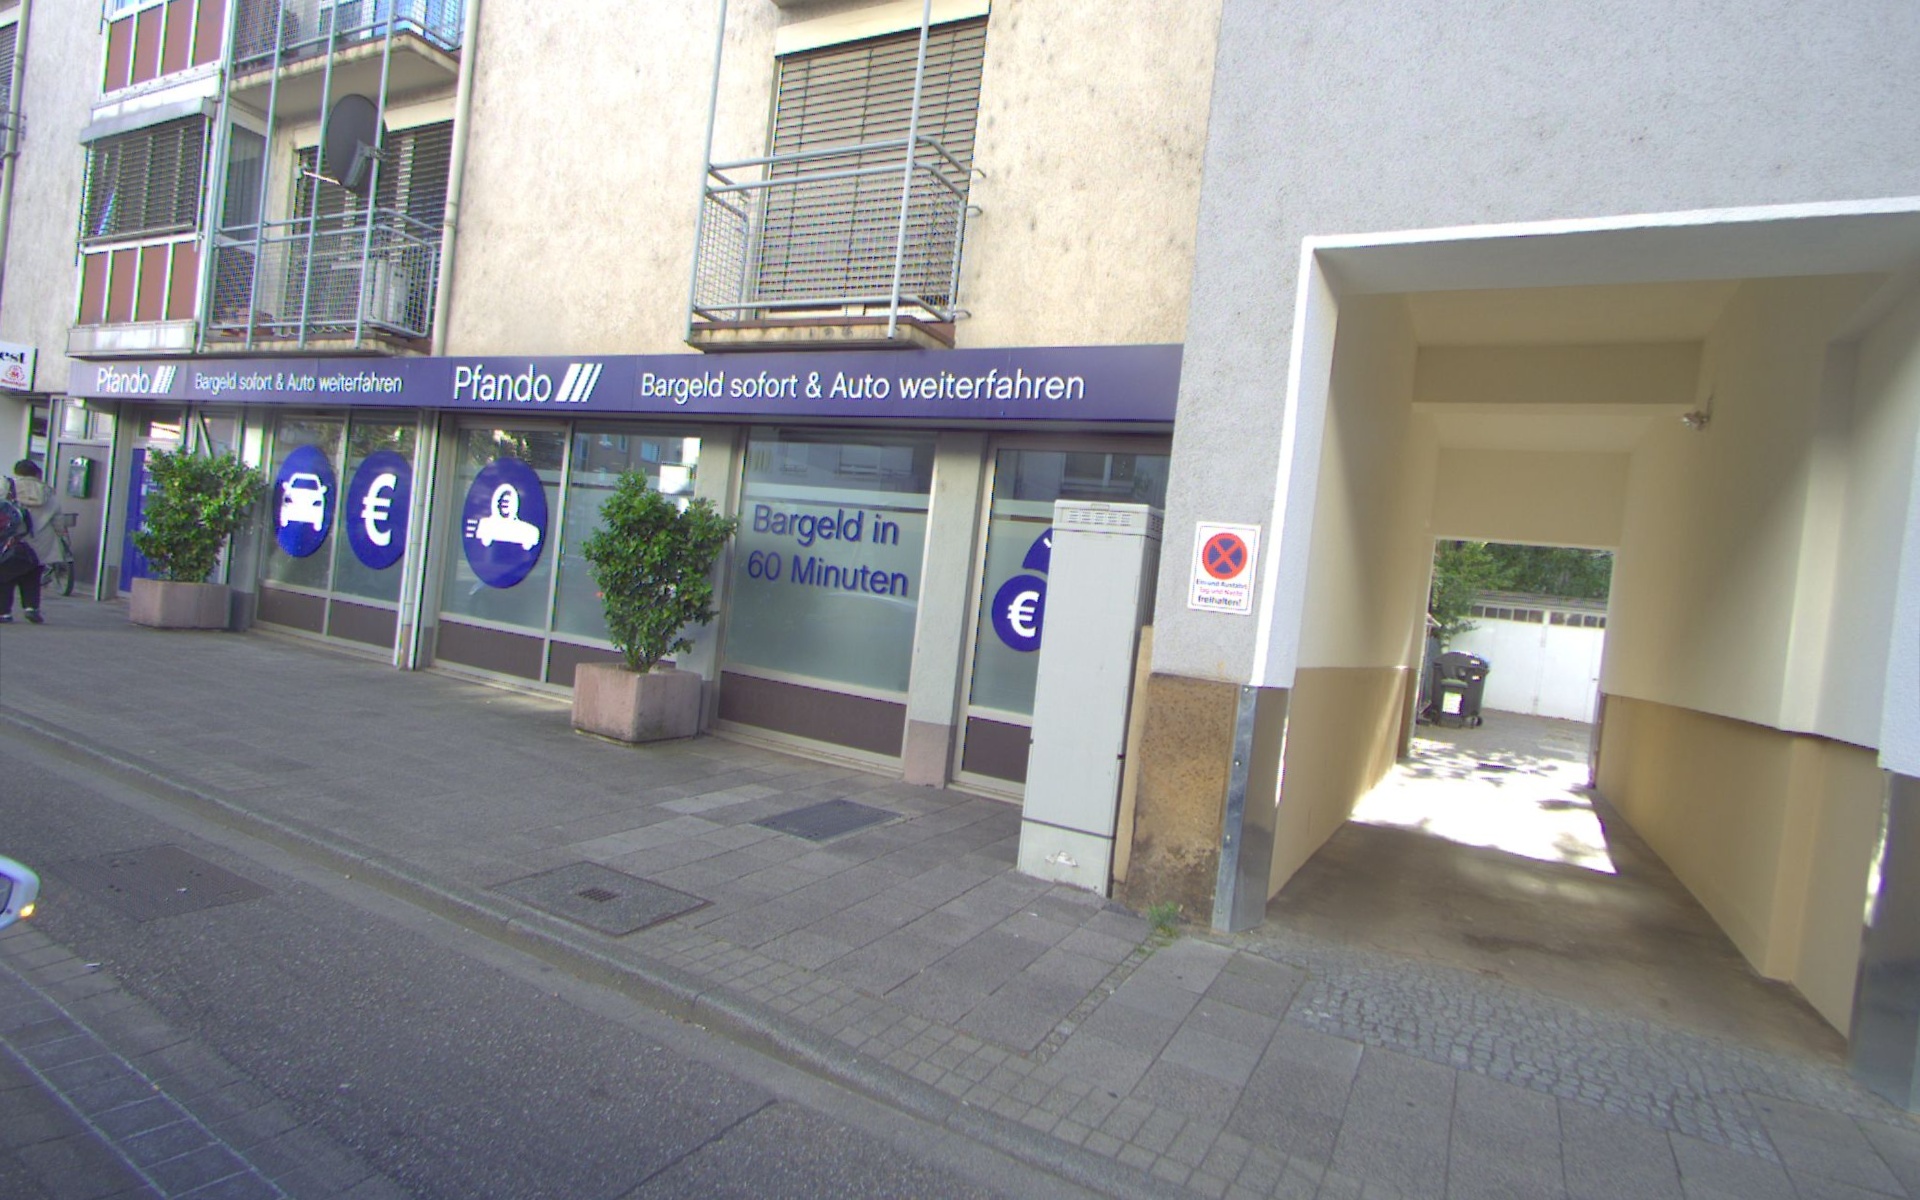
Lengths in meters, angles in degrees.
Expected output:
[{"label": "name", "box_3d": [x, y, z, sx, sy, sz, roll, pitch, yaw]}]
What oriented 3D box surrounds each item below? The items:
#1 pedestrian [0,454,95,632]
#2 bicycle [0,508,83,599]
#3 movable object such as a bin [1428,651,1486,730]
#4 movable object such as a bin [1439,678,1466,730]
[{"label": "pedestrian", "box_3d": [-9.191, -0.561, 9.802, 0.738, 1.611, 0.827, 6, -1, 31]}, {"label": "bicycle", "box_3d": [-11.918, -0.621, 12.836, 1.678, 1.010, 0.543, 6, -1, 32]}, {"label": "movable object such as a bin", "box_3d": [9.839, 1.770, 19.913, 0.873, 1.411, 0.758, 7, 2, 28]}, {"label": "movable object such as a bin", "box_3d": [9.475, 1.999, 19.357, 0.365, 0.920, 0.420, 7, 2, 28]}]
